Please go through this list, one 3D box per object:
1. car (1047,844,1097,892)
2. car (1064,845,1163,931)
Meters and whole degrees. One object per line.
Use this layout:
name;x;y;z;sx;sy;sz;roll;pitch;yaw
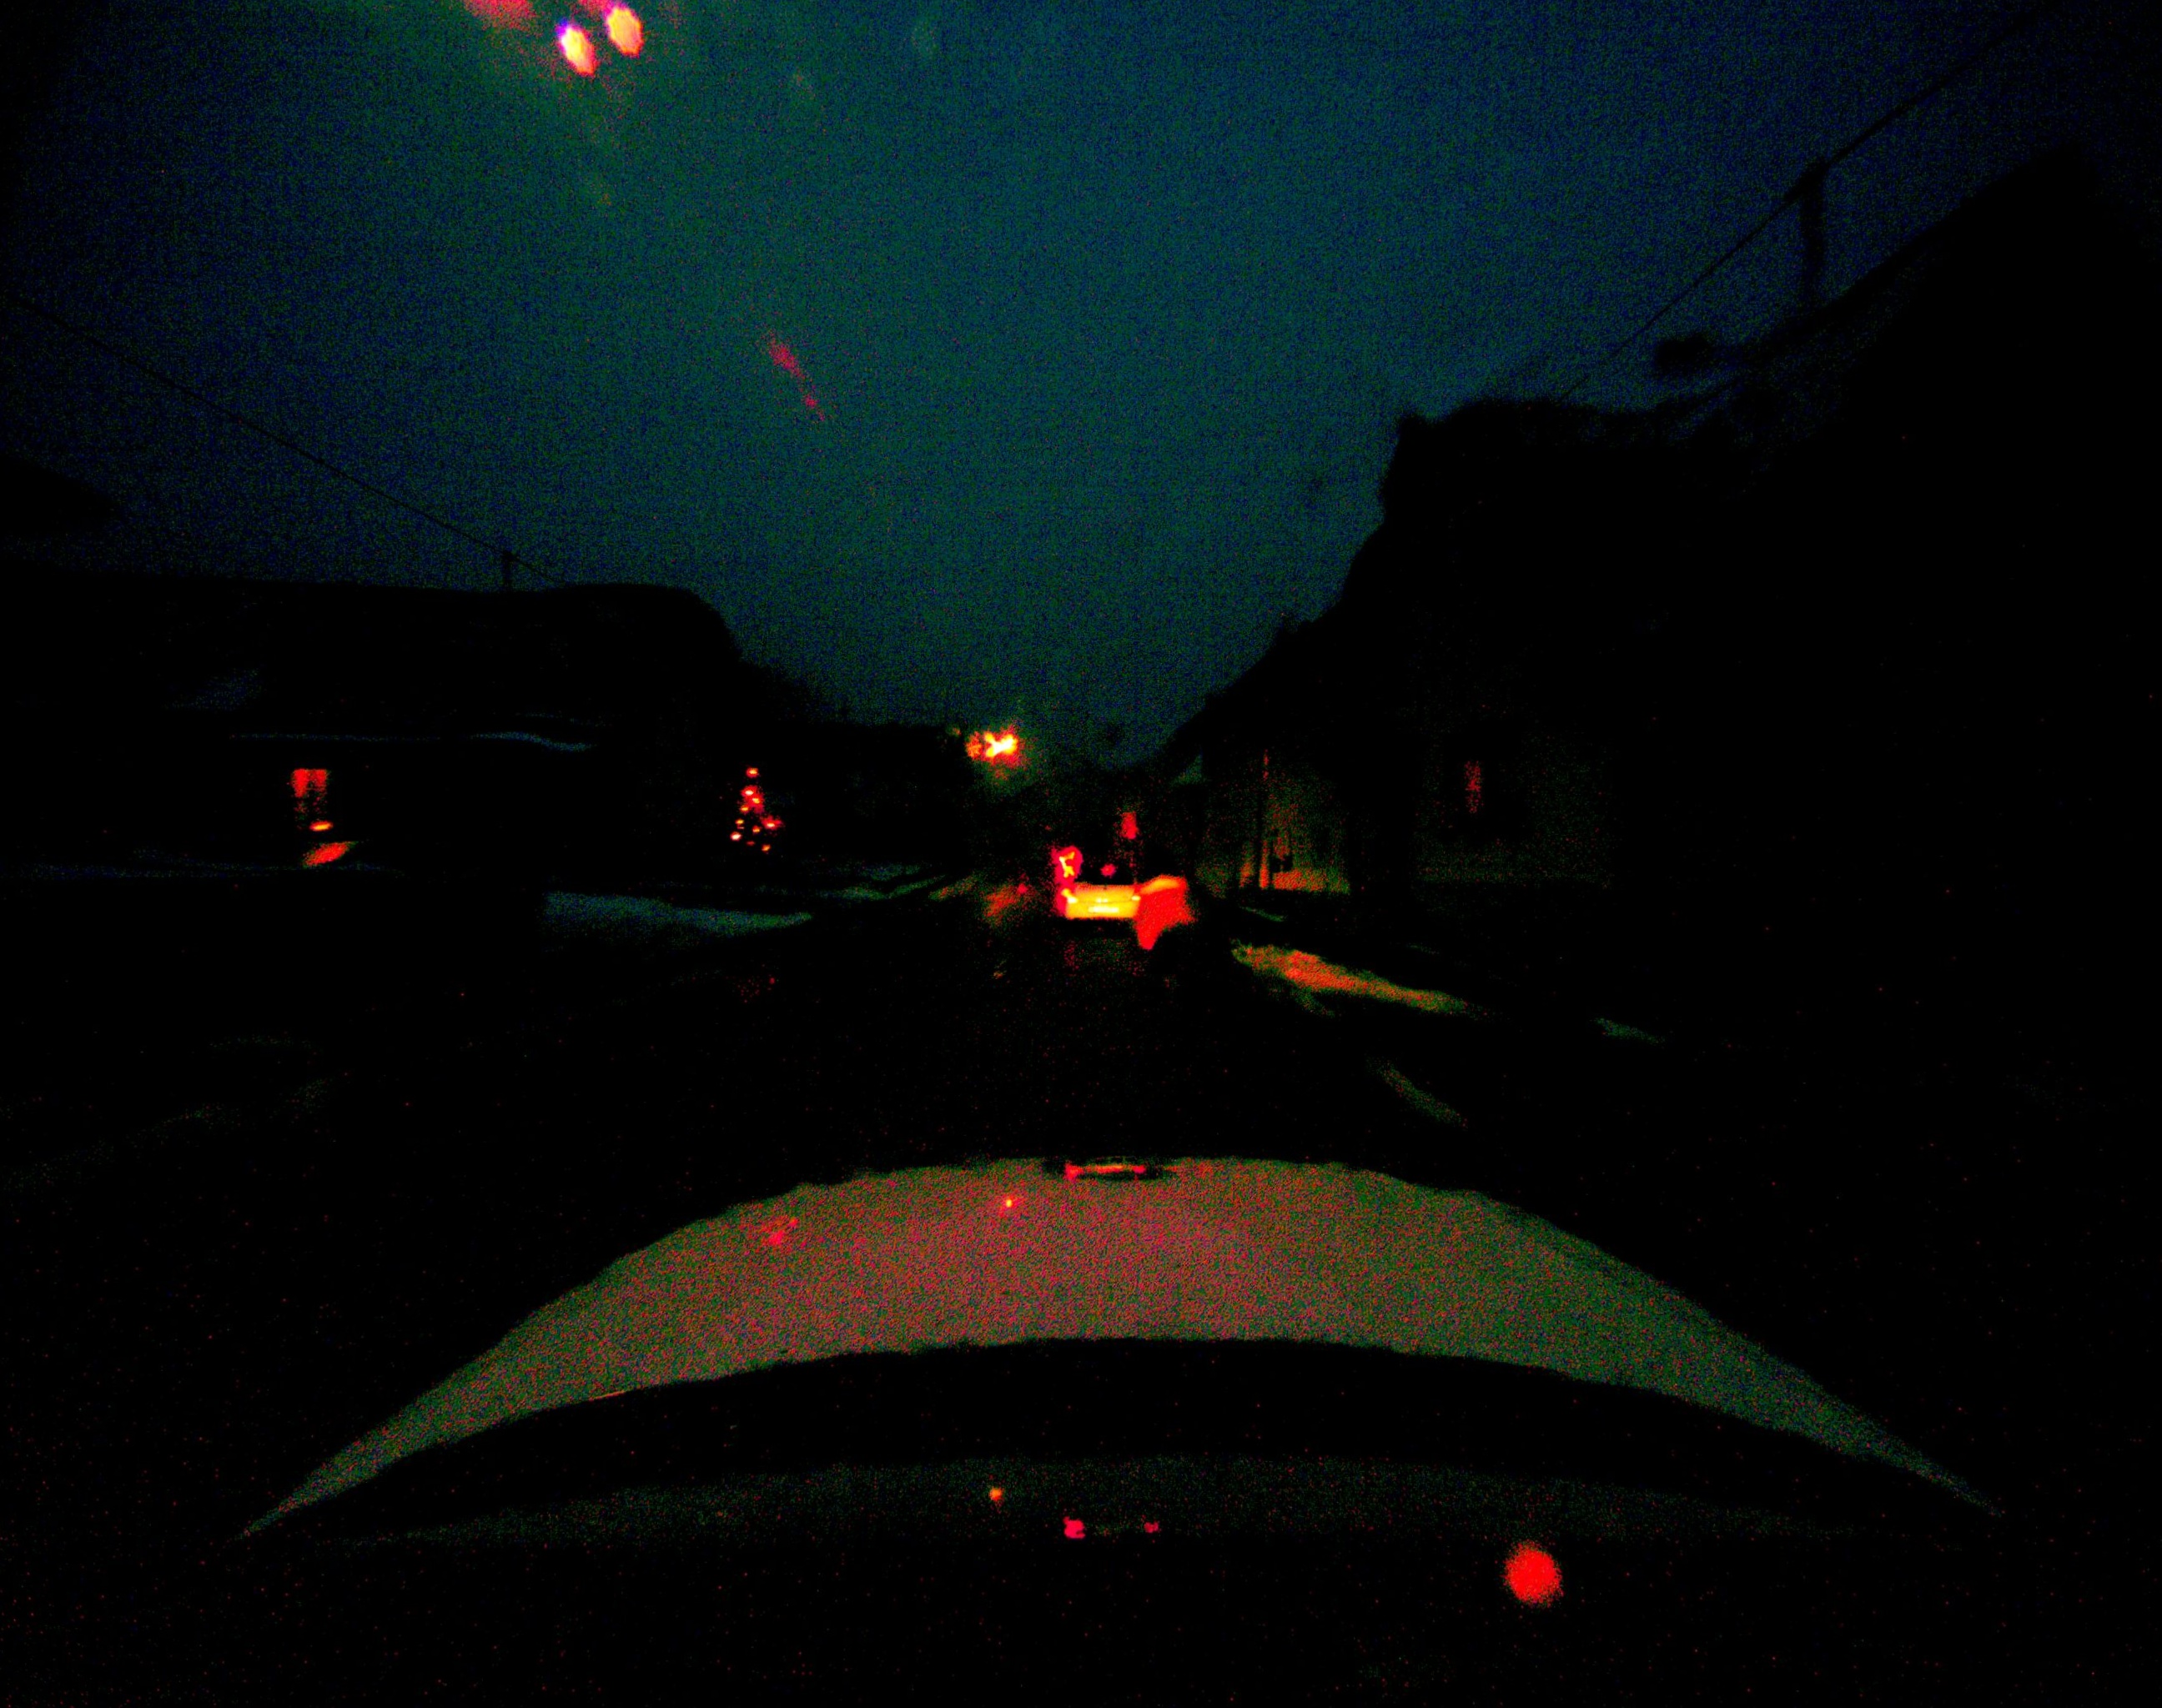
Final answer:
car;-0.372;0.494;29.237;1.641;1.596;3.695;1;-1;-3
car;0.579;0.666;17.287;1.642;1.596;3.693;1;-1;-5
